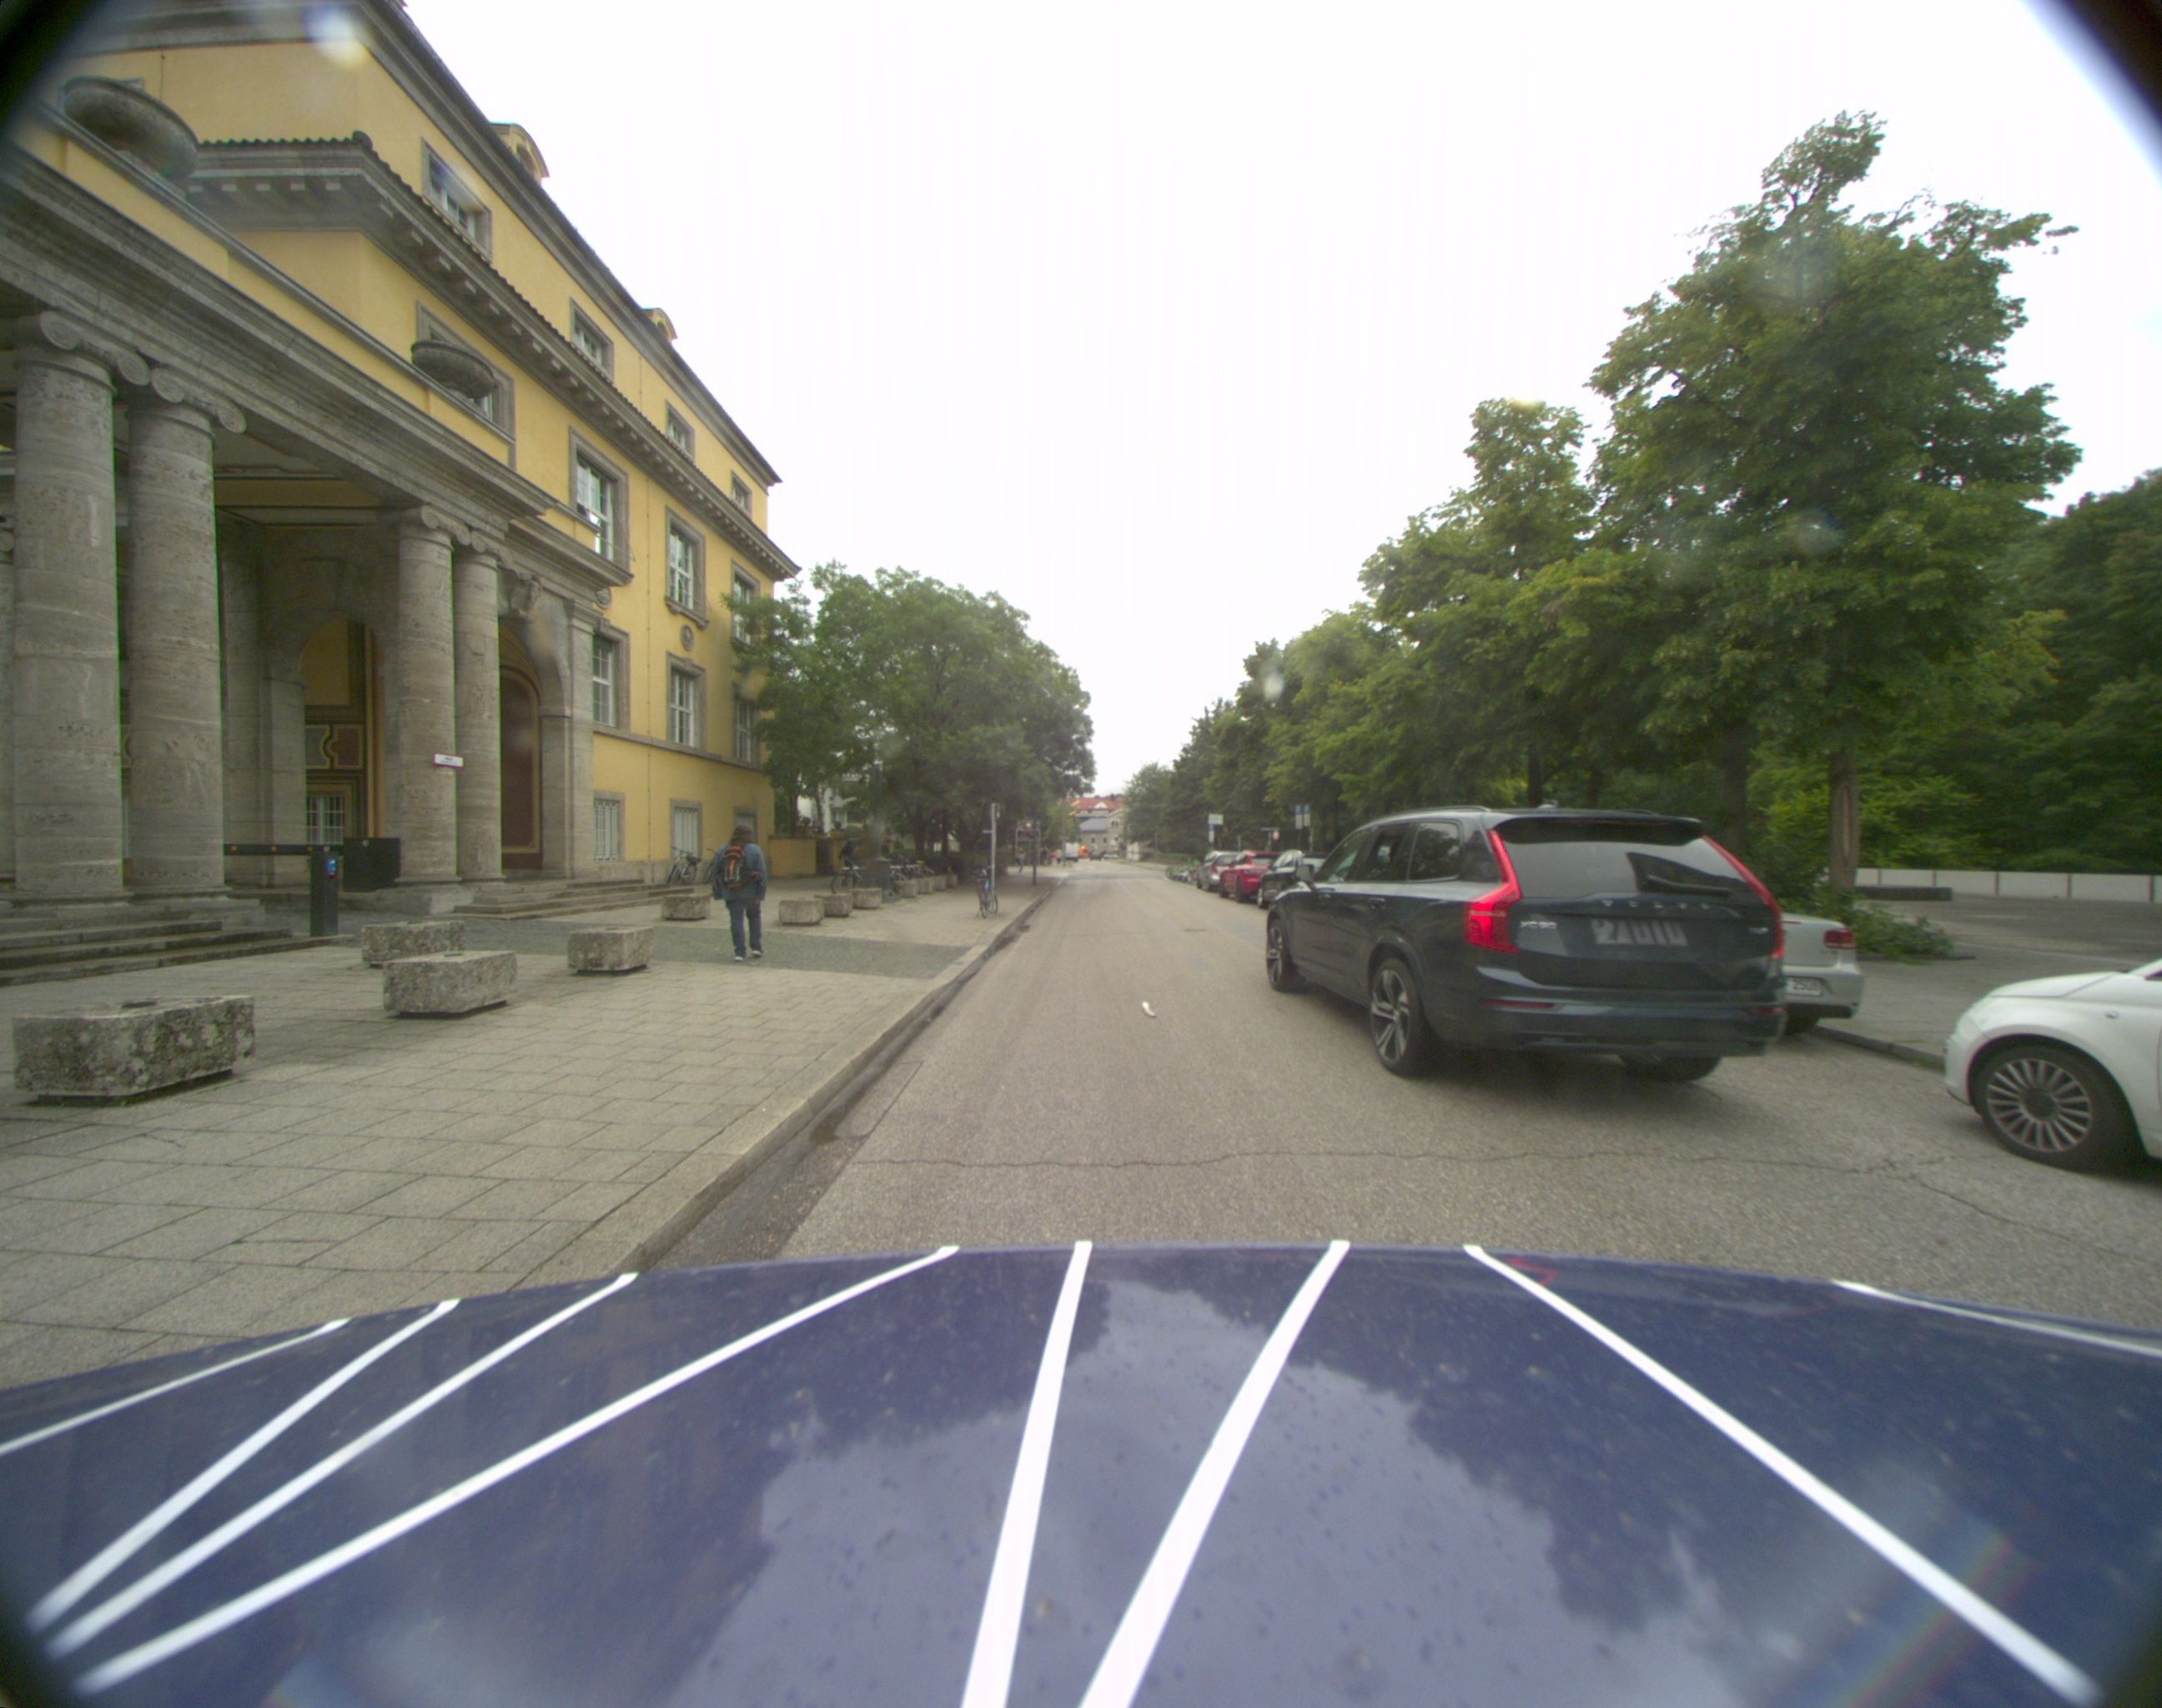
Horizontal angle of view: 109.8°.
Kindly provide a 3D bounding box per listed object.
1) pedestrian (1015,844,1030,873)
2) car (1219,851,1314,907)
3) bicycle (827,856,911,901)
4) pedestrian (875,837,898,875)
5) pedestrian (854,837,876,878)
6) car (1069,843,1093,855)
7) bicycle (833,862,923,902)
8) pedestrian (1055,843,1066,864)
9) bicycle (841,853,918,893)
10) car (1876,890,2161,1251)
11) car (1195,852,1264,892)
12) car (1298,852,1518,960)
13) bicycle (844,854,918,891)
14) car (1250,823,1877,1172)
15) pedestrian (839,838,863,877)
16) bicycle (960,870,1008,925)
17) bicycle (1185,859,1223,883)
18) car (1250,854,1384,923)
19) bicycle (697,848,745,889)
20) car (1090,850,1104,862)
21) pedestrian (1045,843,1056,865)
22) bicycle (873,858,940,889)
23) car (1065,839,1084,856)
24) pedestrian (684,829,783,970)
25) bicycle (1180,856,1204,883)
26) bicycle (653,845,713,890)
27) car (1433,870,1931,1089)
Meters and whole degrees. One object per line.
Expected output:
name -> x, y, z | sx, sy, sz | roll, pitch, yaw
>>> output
pedestrian -> -3.578, 0.264, 46.485 | 0.798, 1.722, 0.660 | -2, 2, -1
car -> 5.657, 0.714, 23.762 | 1.998, 1.535, 4.364 | 1, 1, 2
bicycle -> -6.265, 0.724, 22.559 | 2.265, 1.088, 0.601 | 5, 1, -10
pedestrian -> -9.782, 0.107, 38.295 | 0.782, 1.855, 1.035 | 3, 2, 1
pedestrian -> -9.898, 0.150, 34.823 | 0.659, 1.855, 0.821 | 3, 2, 0
car -> -0.015, -1.133, 168.845 | 4.973, 2.521, 2.578 | -1, 2, 44
bicycle -> -5.709, 0.787, 21.487 | 2.370, 1.000, 0.677 | 3, 1, -8
pedestrian -> -1.856, -0.046, 68.371 | 0.777, 1.855, 0.997 | -3, 2, -6
bicycle -> -6.450, 0.610, 24.461 | 2.265, 1.053, 0.601 | 5, 1, -10
car -> 5.357, 0.977, 2.579 | 1.547, 1.462, 3.552 | 2, 1, 1
car -> 5.833, 0.662, 30.419 | 1.998, 1.452, 4.364 | 1, 1, 2
car -> 5.520, 0.771, 13.611 | 1.998, 1.574, 4.521 | 1, 1, 1
bicycle -> -6.661, 0.606, 25.375 | 2.265, 1.018, 0.601 | 5, 1, -10
car -> 2.935, 0.694, 6.230 | 1.965, 1.672, 4.911 | 2, 1, 0
pedestrian -> -10.607, 0.150, 35.055 | 0.741, 1.734, 0.841 | 3, 2, 0
bicycle -> -2.195, 0.960, 17.489 | 0.762, 1.094, 2.263 | 3, 1, 0
bicycle -> 5.801, 0.811, 35.878 | 1.700, 1.101, 0.598 | 0, 1, -8
car -> 5.684, 0.754, 18.993 | 1.998, 1.452, 4.647 | 1, 0, 2
bicycle -> -12.091, 0.459, 25.592 | 0.601, 1.299, 2.165 | 1, 1, 0
car -> 2.549, 0.283, 123.049 | 2.222, 1.840, 4.730 | -2, 1, 1
pedestrian -> -2.757, -0.009, 68.450 | 0.777, 1.855, 0.996 | -3, 2, -7
bicycle -> -6.302, 0.702, 27.527 | 2.262, 1.005, 0.602 | 2, 0, 3
car -> -0.938, -0.901, 105.987 | 2.236, 2.289, 4.728 | -3, 1, -5
pedestrian -> -4.499, 0.557, 9.898 | 0.790, 1.736, 1.055 | 1, 1, 0
bicycle -> 5.464, 0.774, 37.409 | 0.574, 1.275, 1.421 | -1, 1, 33
bicycle -> -12.123, 0.370, 23.232 | 0.601, 1.299, 2.264 | 1, 1, 1
car -> 5.413, 0.972, 7.735 | 1.762, 1.392, 4.217 | 3, 1, 2
